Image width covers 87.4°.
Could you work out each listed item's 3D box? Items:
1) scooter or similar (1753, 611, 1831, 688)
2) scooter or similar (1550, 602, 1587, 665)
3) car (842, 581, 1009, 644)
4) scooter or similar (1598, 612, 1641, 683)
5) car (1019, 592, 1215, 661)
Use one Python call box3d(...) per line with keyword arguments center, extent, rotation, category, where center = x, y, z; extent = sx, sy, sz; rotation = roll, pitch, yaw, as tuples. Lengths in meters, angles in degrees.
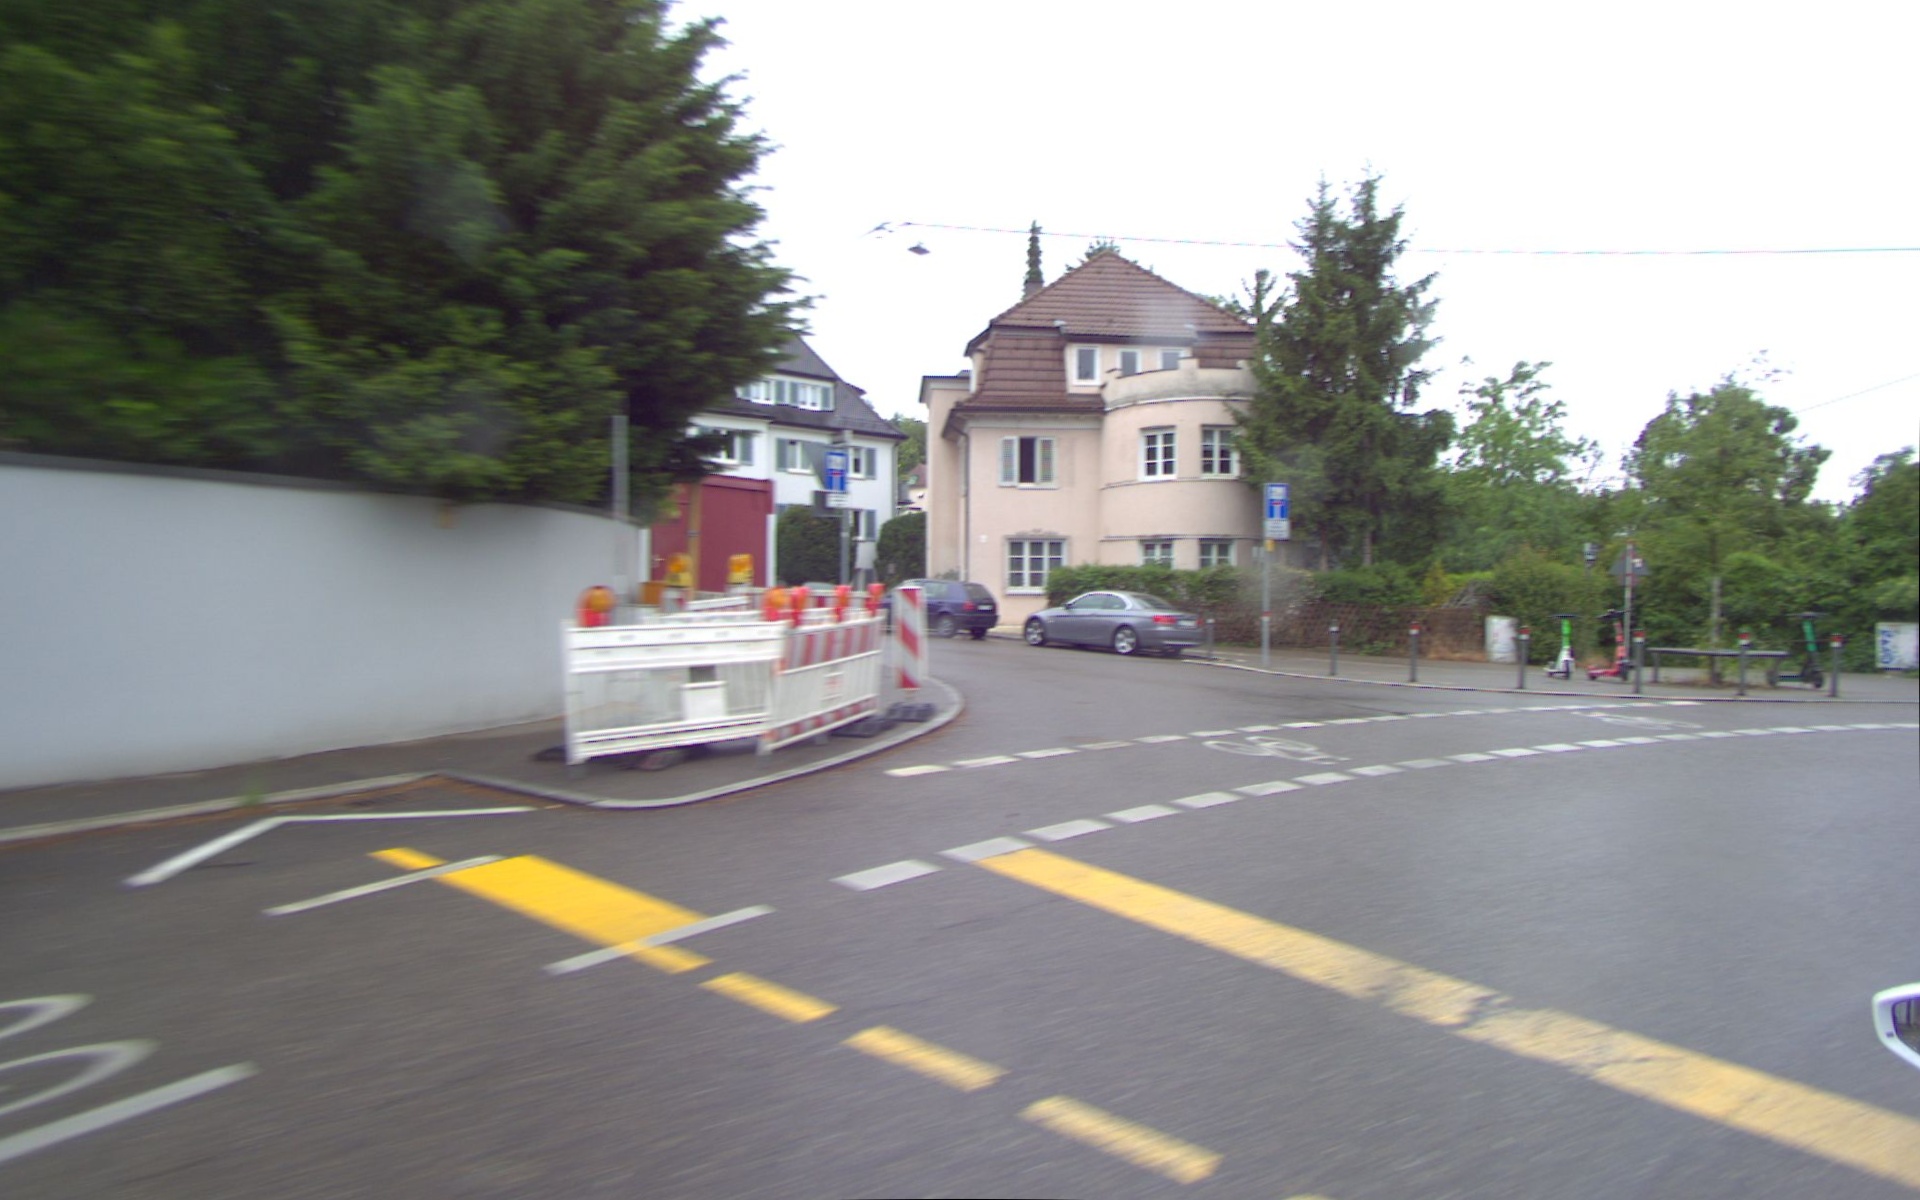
box3d(center=(14.061, 0.819, 17.002), extent=(0.239, 1.234, 1.033), rotation=(1, 1, -15), category="scooter or similar")
box3d(center=(11.057, 0.596, 18.270), extent=(0.238, 1.083, 1.037), rotation=(2, 1, 14), category="scooter or similar")
box3d(center=(-0.939, 0.281, 26.055), extent=(4.134, 1.421, 1.670), rotation=(2, 1, 35), category="car")
box3d(center=(11.622, 0.823, 17.715), extent=(0.238, 1.180, 1.037), rotation=(2, 1, 12), category="scooter or similar")
box3d(center=(3.420, 0.531, 22.464), extent=(4.147, 1.284, 1.665), rotation=(3, 2, 45), category="car")
